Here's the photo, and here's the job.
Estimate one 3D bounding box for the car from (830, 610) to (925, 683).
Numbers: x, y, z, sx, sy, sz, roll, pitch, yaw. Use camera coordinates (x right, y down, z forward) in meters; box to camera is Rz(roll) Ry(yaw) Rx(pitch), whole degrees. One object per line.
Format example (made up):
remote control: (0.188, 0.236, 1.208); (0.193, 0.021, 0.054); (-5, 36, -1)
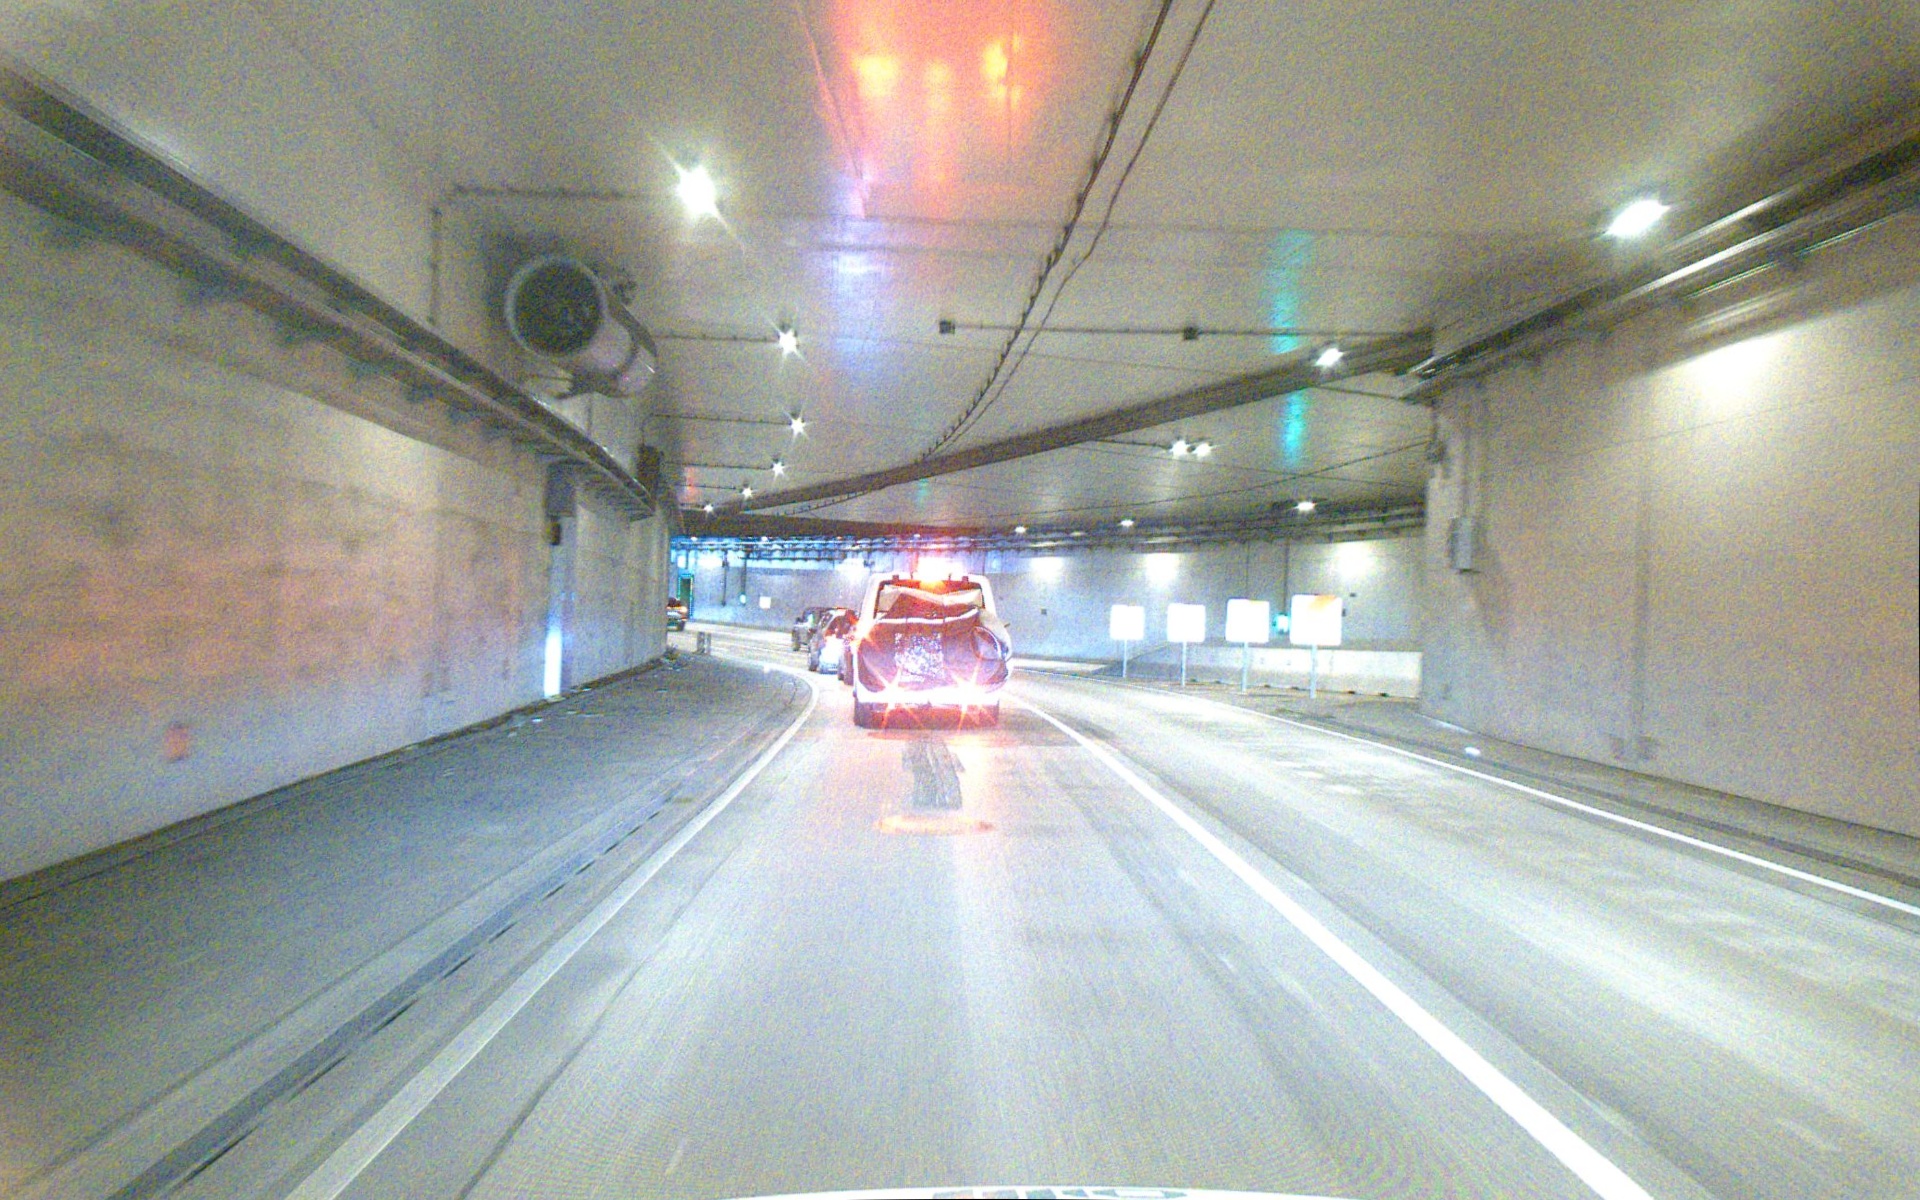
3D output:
car: (-1.737, 0.937, 34.010); (1.573, 1.420, 3.269); (1, -1, -10)

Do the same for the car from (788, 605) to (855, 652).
car: (-5.245, 1.059, 62.326); (1.581, 1.658, 3.332); (-2, 1, -23)

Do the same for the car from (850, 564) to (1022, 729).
car: (-0.388, 0.564, 21.623); (1.954, 1.880, 5.298); (1, -1, -3)

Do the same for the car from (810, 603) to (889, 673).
car: (-2.813, 0.979, 41.567); (1.574, 1.622, 3.346); (2, -3, -11)

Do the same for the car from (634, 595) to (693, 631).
car: (-14.653, 0.628, 81.584); (1.801, 1.658, 3.810); (3, 0, -27)
